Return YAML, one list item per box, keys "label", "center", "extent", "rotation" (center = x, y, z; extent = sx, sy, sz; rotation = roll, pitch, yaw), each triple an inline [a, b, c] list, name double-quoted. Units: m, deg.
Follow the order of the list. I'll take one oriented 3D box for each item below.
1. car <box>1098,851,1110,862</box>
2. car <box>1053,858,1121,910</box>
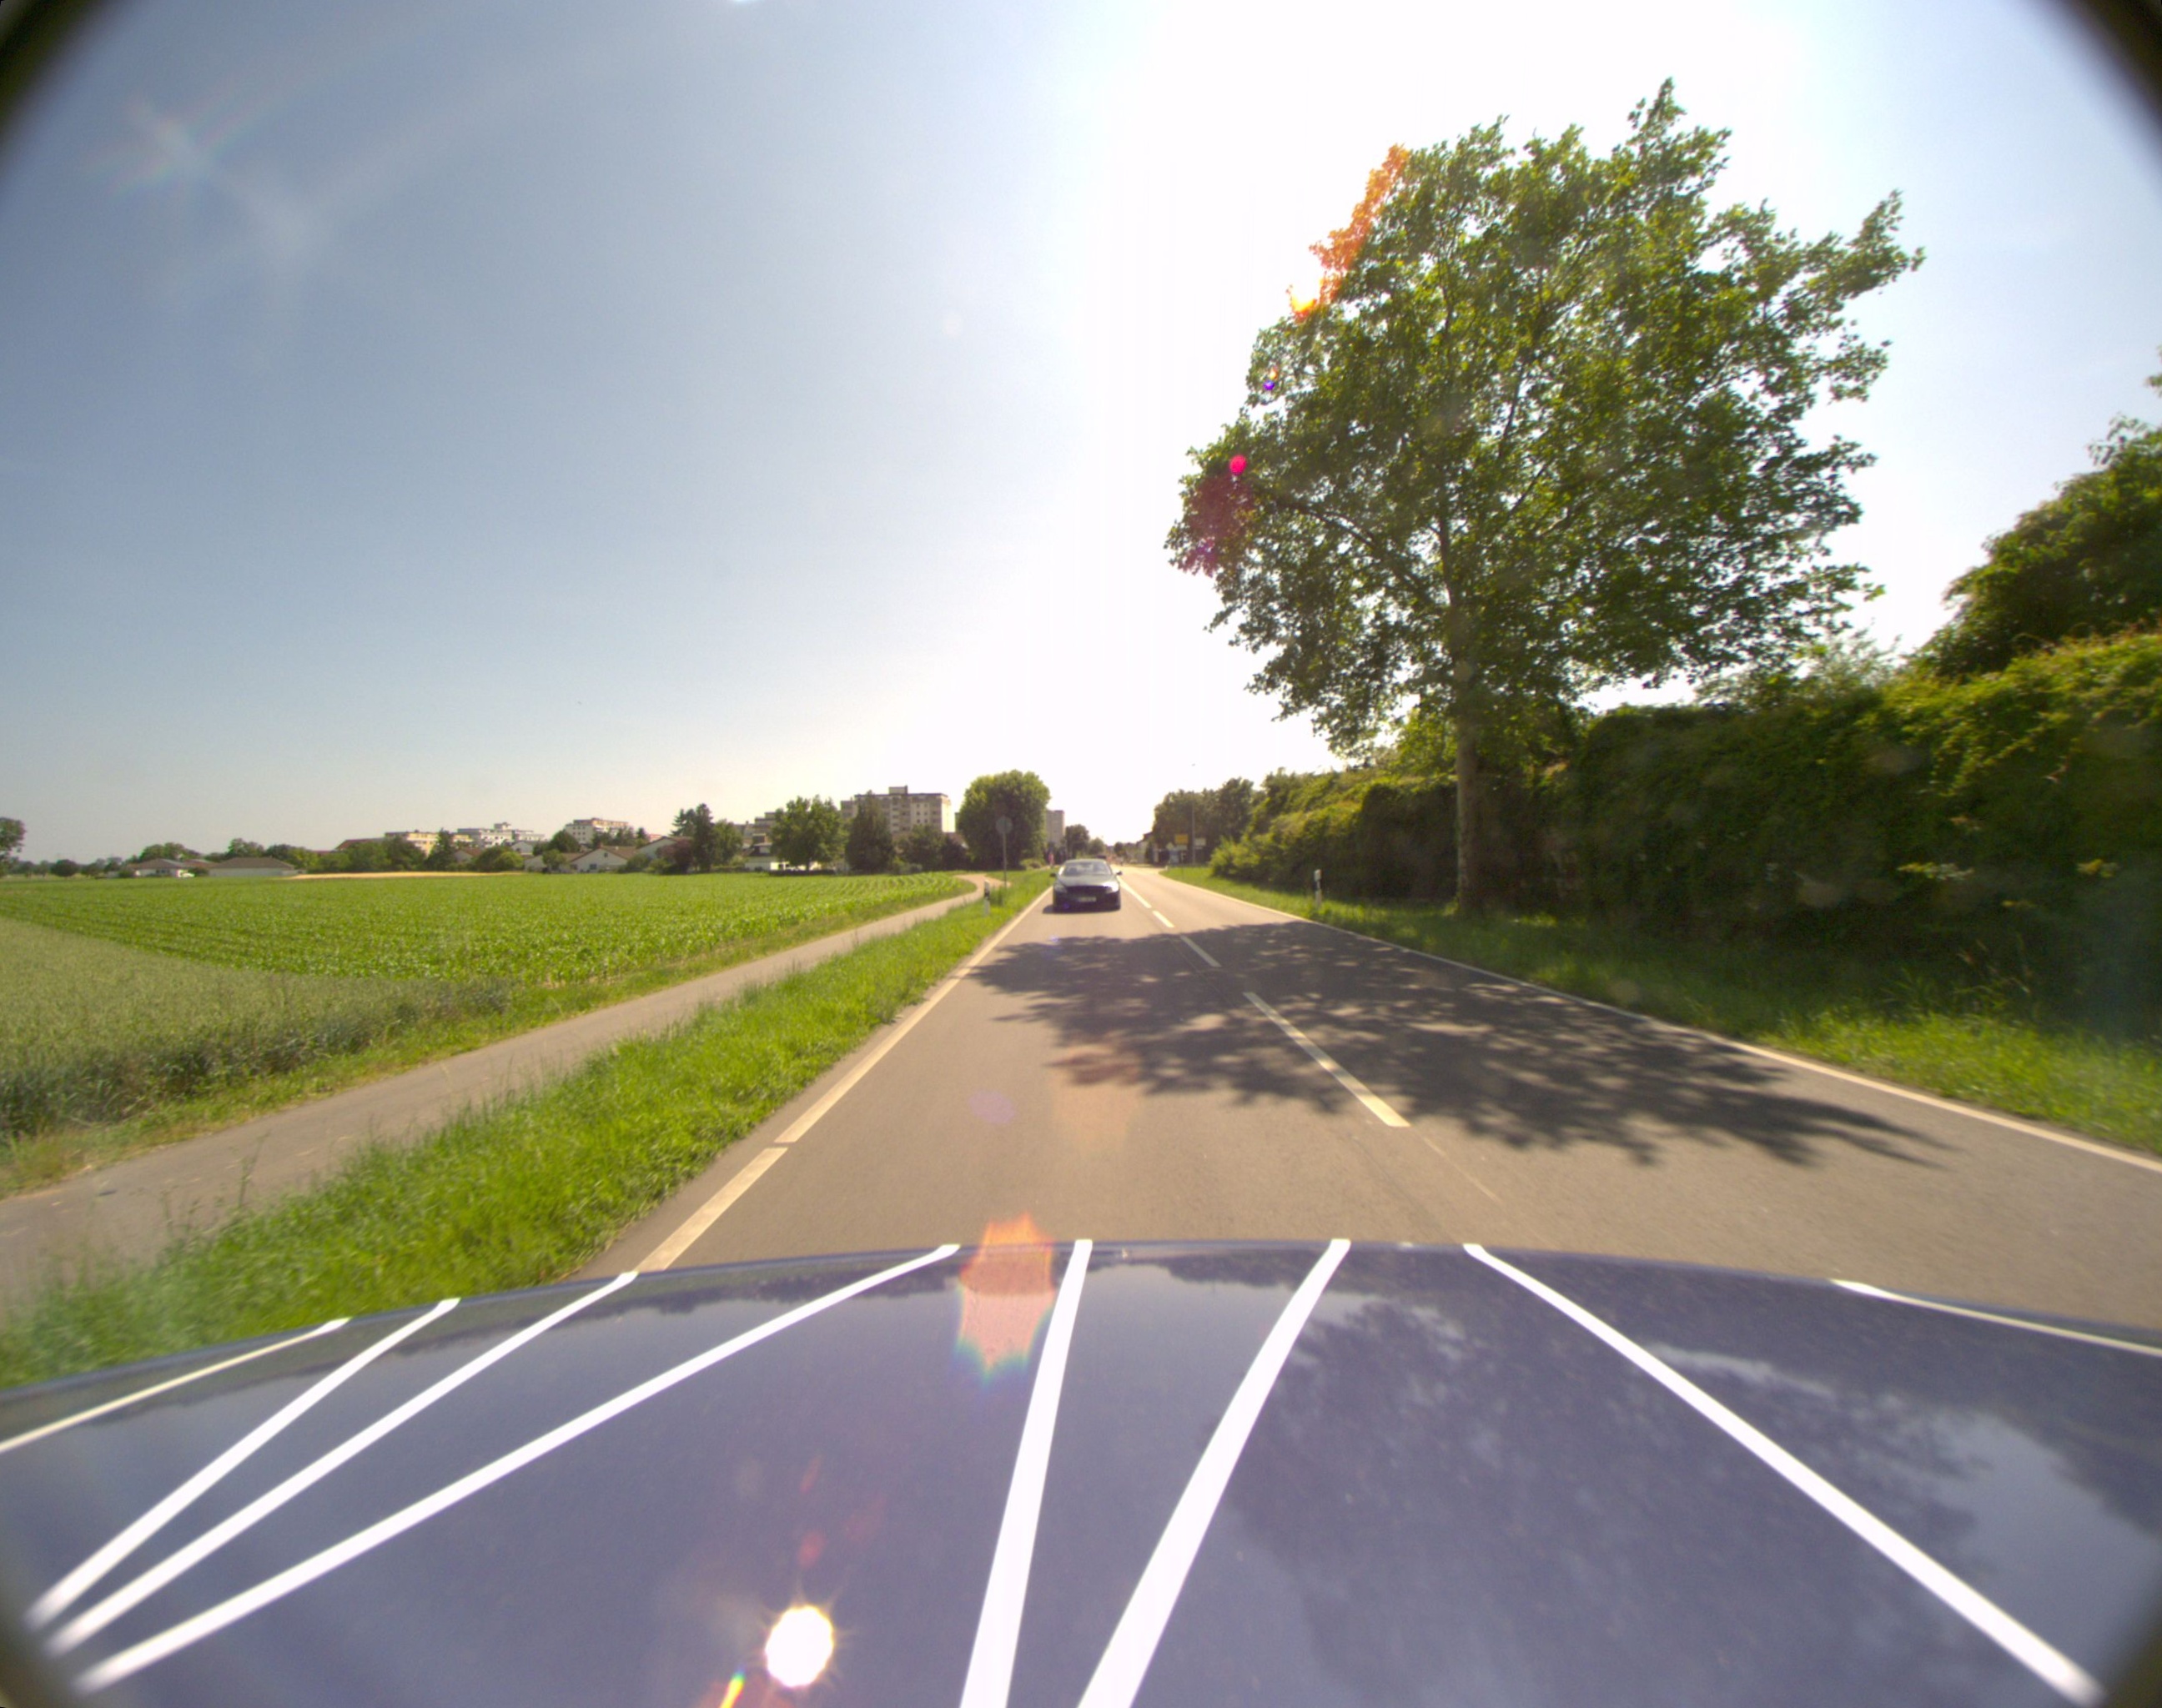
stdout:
- label: "car"
  center: [4.146, 0.473, 138.646]
  extent: [2.149, 1.940, 5.247]
  rotation: [0, 0, 1]
- label: "car"
  center: [0.130, 0.866, 24.174]
  extent: [1.889, 1.429, 4.838]
  rotation: [-2, 0, -1]
